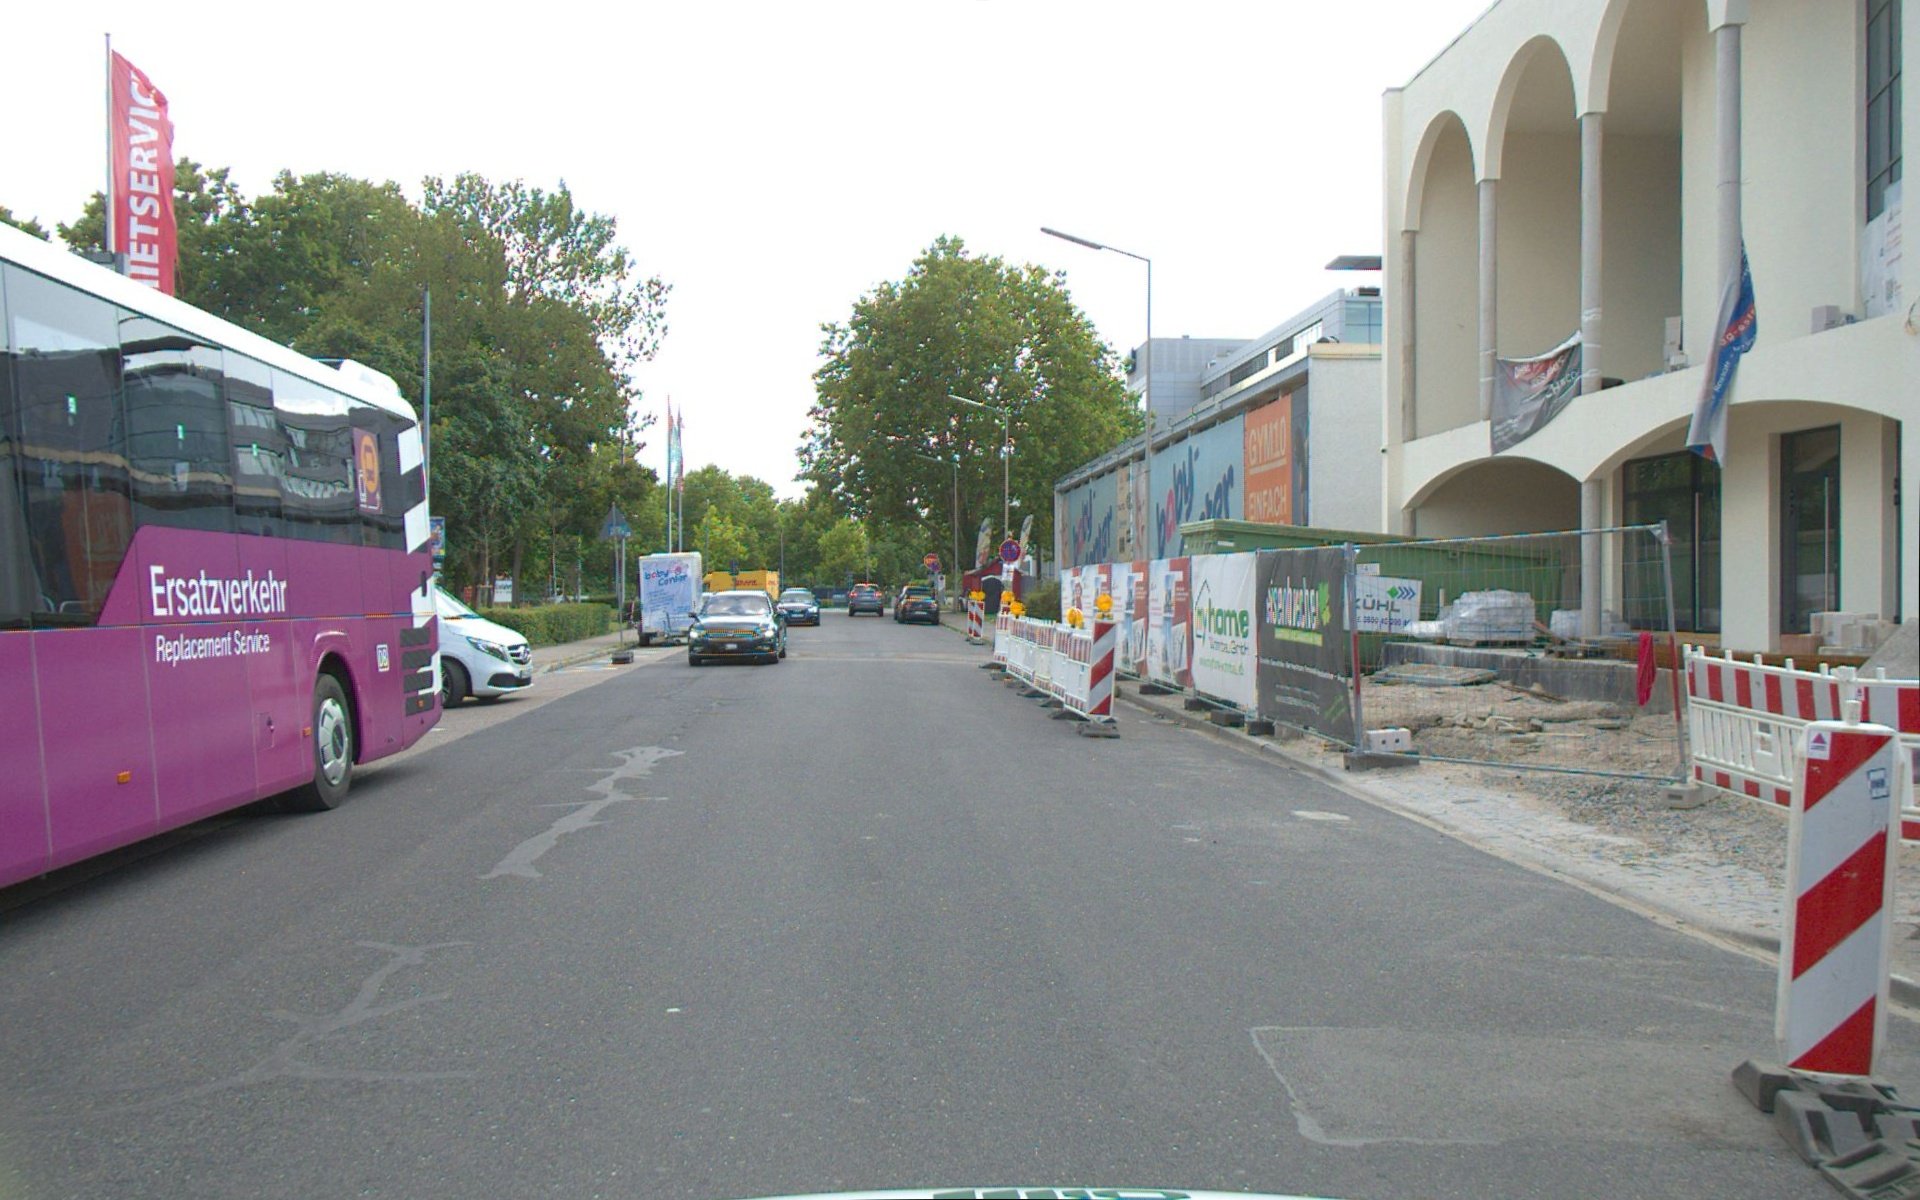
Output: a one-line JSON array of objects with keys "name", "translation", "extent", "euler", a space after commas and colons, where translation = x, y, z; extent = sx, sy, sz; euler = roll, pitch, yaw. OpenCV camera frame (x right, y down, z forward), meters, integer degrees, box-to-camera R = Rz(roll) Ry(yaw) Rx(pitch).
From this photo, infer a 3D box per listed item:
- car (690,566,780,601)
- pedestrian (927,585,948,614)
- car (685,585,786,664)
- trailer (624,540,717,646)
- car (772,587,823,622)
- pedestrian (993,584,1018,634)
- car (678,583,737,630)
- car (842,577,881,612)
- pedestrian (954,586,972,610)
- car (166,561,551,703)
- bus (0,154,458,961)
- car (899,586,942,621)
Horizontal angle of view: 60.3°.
[{"name": "car", "translation": [-16.701, -1.242, 122.846], "extent": [6.249, 2.623, 2.207], "euler": [0, 1, 17]}, {"name": "pedestrian", "translation": [-1.444, -0.056, 106.948], "extent": [0.986, 1.881, 1.221], "euler": [0, 0, -22]}, {"name": "car", "translation": [-4.622, 0.460, 34.574], "extent": [1.761, 1.484, 4.381], "euler": [-1, 1, -4]}, {"name": "trailer", "translation": [-8.332, -0.227, 47.985], "extent": [2.097, 2.831, 4.699], "euler": [-2, 1, -4]}, {"name": "car", "translation": [-6.659, 0.162, 68.102], "extent": [1.885, 1.401, 4.377], "euler": [0, 1, -3]}, {"name": "pedestrian", "translation": [1.422, 0.279, 51.565], "extent": [0.668, 1.560, 1.129], "euler": [0, 0, -5]}, {"name": "car", "translation": [-8.885, 0.211, 58.493], "extent": [1.731, 1.505, 4.231], "euler": [-3, 1, -5]}, {"name": "car", "translation": [-5.335, -0.293, 89.339], "extent": [1.924, 1.847, 4.270], "euler": [0, 1, -6]}, {"name": "pedestrian", "translation": [0.170, -0.120, 95.444], "extent": [0.992, 1.337, 0.965], "euler": [0, 0, 4]}, {"name": "car", "translation": [-8.699, 0.437, 24.216], "extent": [4.897, 1.983, 1.993], "euler": [0, 1, 1]}, {"name": "bus", "translation": [-5.518, -0.163, 8.340], "extent": [2.611, 3.482, 13.208], "euler": [-3, 1, -4]}, {"name": "car", "translation": [-1.805, 0.148, 74.106], "extent": [1.772, 1.415, 4.586], "euler": [3, 1, -3]}]
